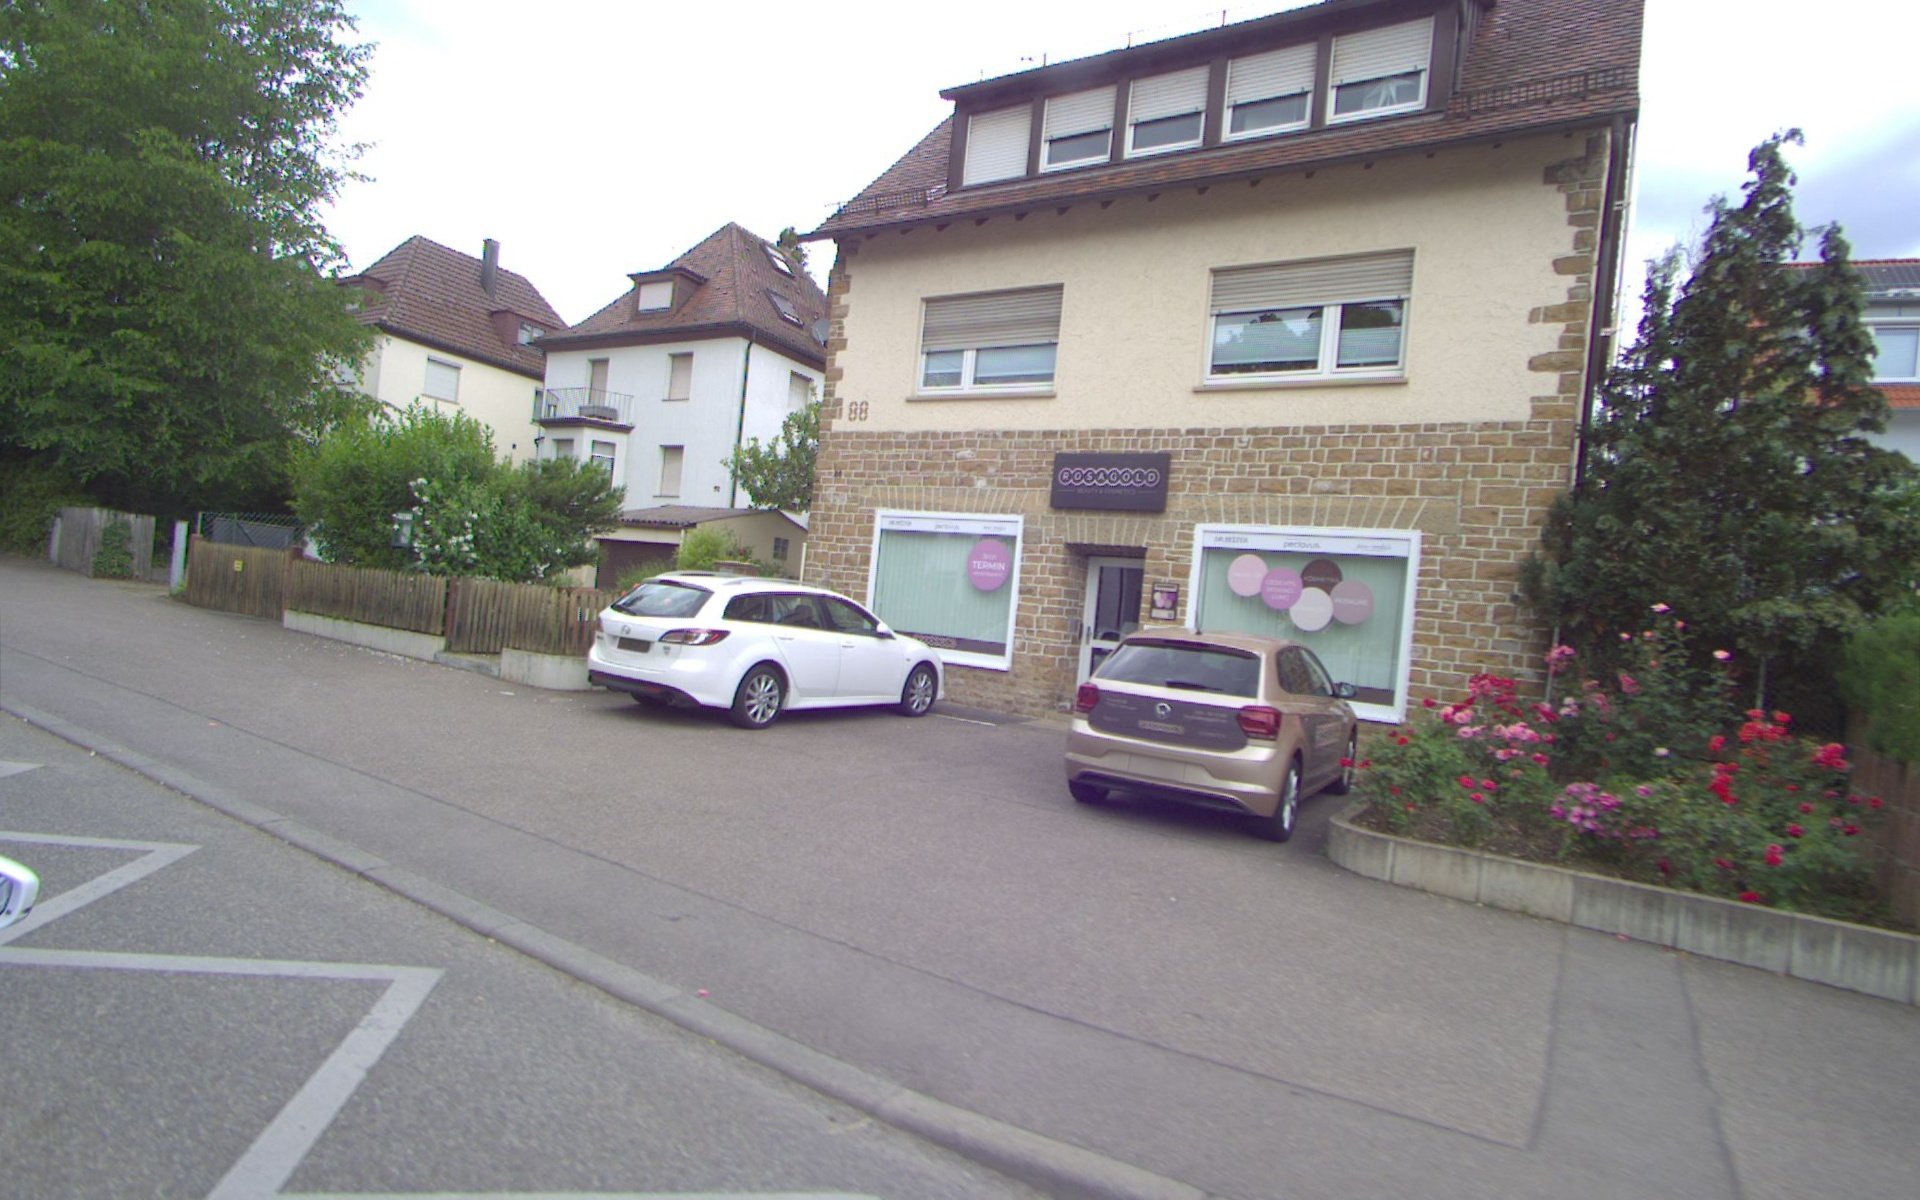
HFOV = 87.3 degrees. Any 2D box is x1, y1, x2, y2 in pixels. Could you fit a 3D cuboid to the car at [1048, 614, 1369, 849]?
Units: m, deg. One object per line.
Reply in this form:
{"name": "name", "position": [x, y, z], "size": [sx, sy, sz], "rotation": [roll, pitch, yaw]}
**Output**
{"name": "car", "position": [2.341, 0.953, 8.677], "size": [1.613, 1.419, 3.806], "rotation": [5, 0, 30]}

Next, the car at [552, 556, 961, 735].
{"name": "car", "position": [-2.029, 0.489, 11.318], "size": [1.835, 1.507, 4.419], "rotation": [5, 0, 34]}
